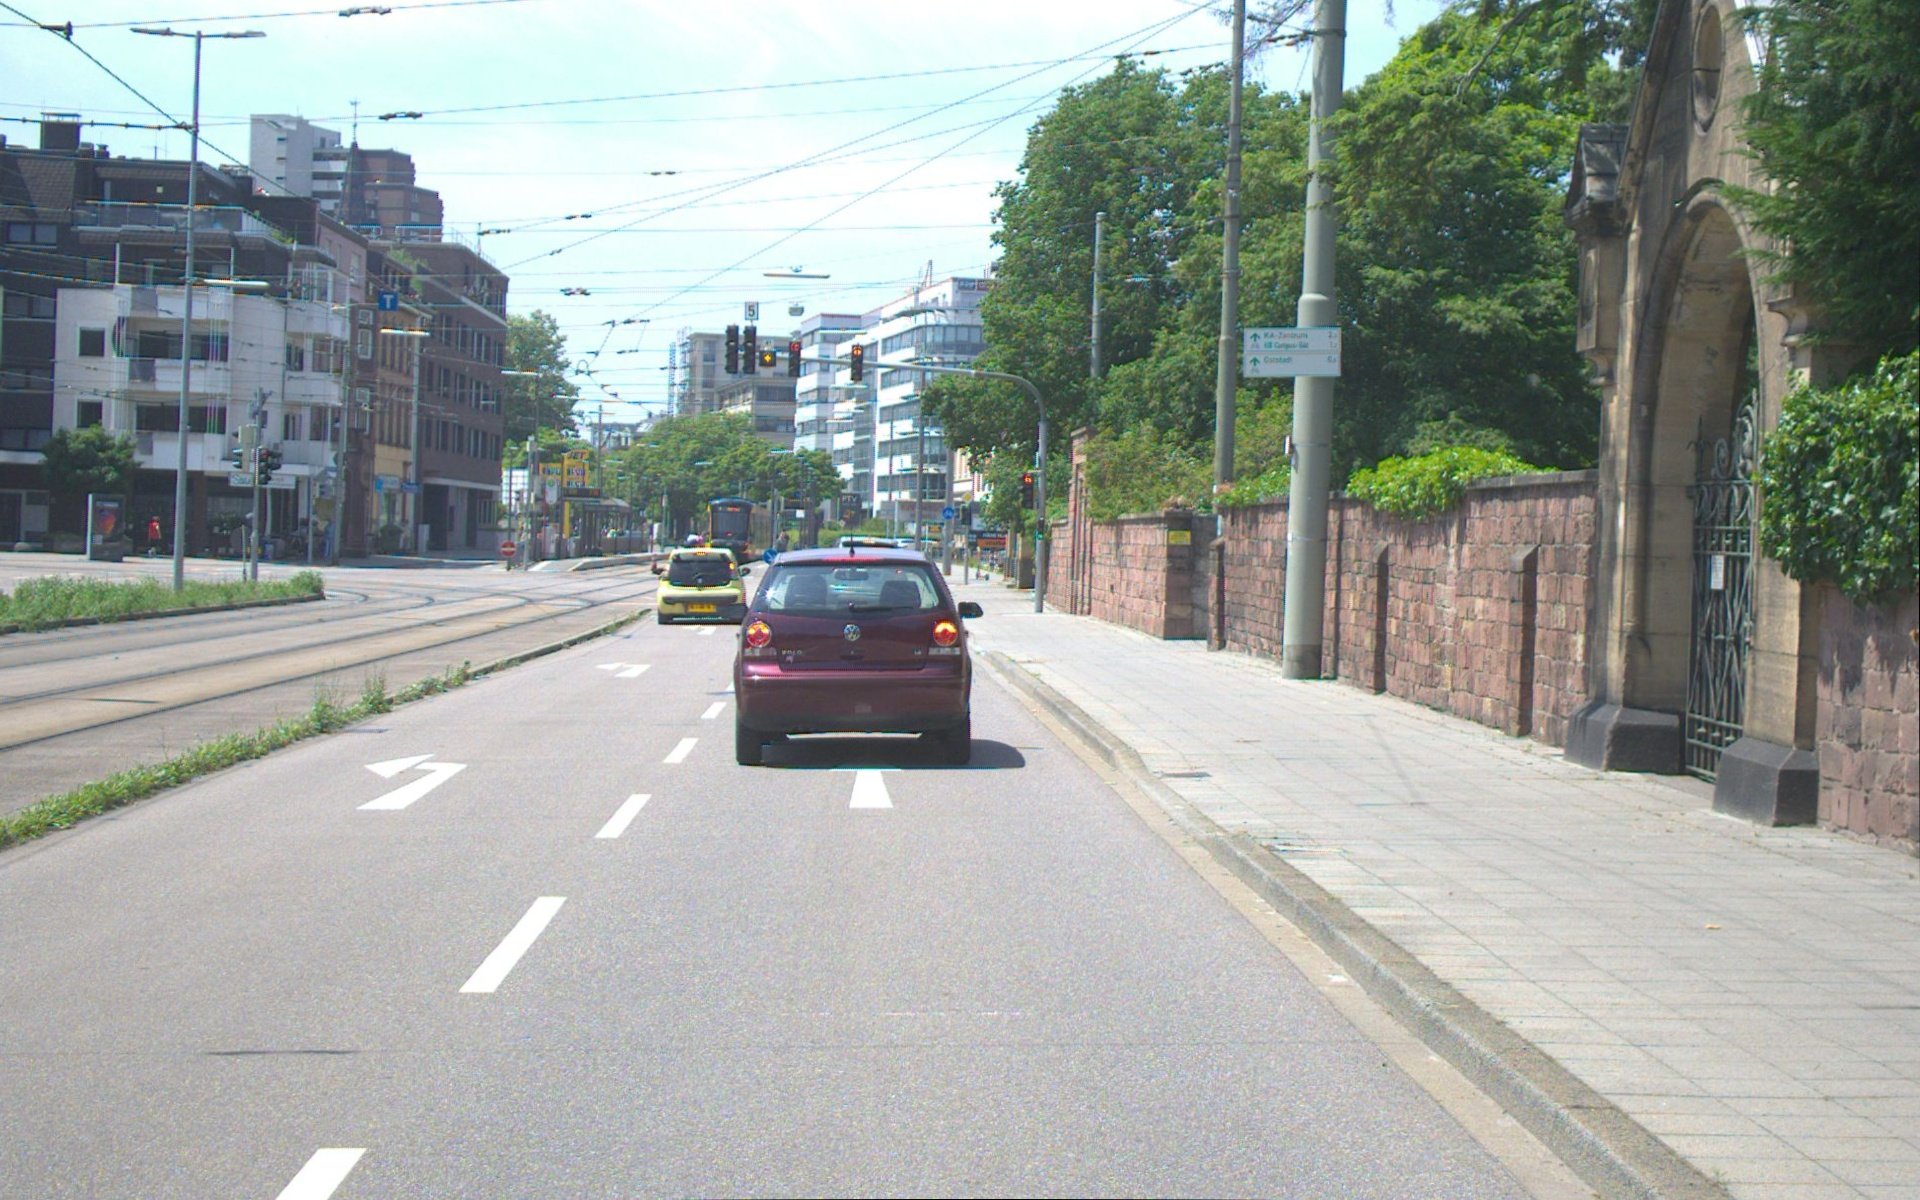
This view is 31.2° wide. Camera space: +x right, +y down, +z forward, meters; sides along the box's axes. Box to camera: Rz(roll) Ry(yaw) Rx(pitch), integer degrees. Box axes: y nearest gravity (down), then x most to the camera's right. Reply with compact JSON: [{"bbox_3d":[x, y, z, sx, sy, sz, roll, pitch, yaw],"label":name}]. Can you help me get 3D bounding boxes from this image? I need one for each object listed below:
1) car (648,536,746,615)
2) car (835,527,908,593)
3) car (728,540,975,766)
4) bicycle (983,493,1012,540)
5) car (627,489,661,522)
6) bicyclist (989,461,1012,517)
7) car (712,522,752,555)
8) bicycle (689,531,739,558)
[{"bbox_3d":[-5.021,-0.496,65.954,1.723,1.440,3.293,0,2,-2],"label":"car"},{"bbox_3d":[-1.967,-0.903,75.820,1.572,1.411,3.720,0,1,-2],"label":"car"},{"bbox_3d":[-0.775,0.312,24.592,1.610,1.458,4.086,0,1,-2],"label":"car"},{"bbox_3d":[1.240,-2.788,115.274,0.835,1.520,4.000,1,0,-1],"label":"bicycle"},{"bbox_3d":[-19.754,-5.885,215.002,1.735,2.007,4.000,2,1,-1],"label":"car"},{"bbox_3d":[1.351,-3.703,114.749,0.721,1.812,0.888,1,0,-1],"label":"bicyclist"},{"bbox_3d":[-11.791,-3.153,177.816,1.938,1.635,4.000,1,0,-2],"label":"car"},{"bbox_3d":[-9.344,-2.108,130.665,1.865,1.004,0.579,1,0,-5],"label":"bicycle"}]
